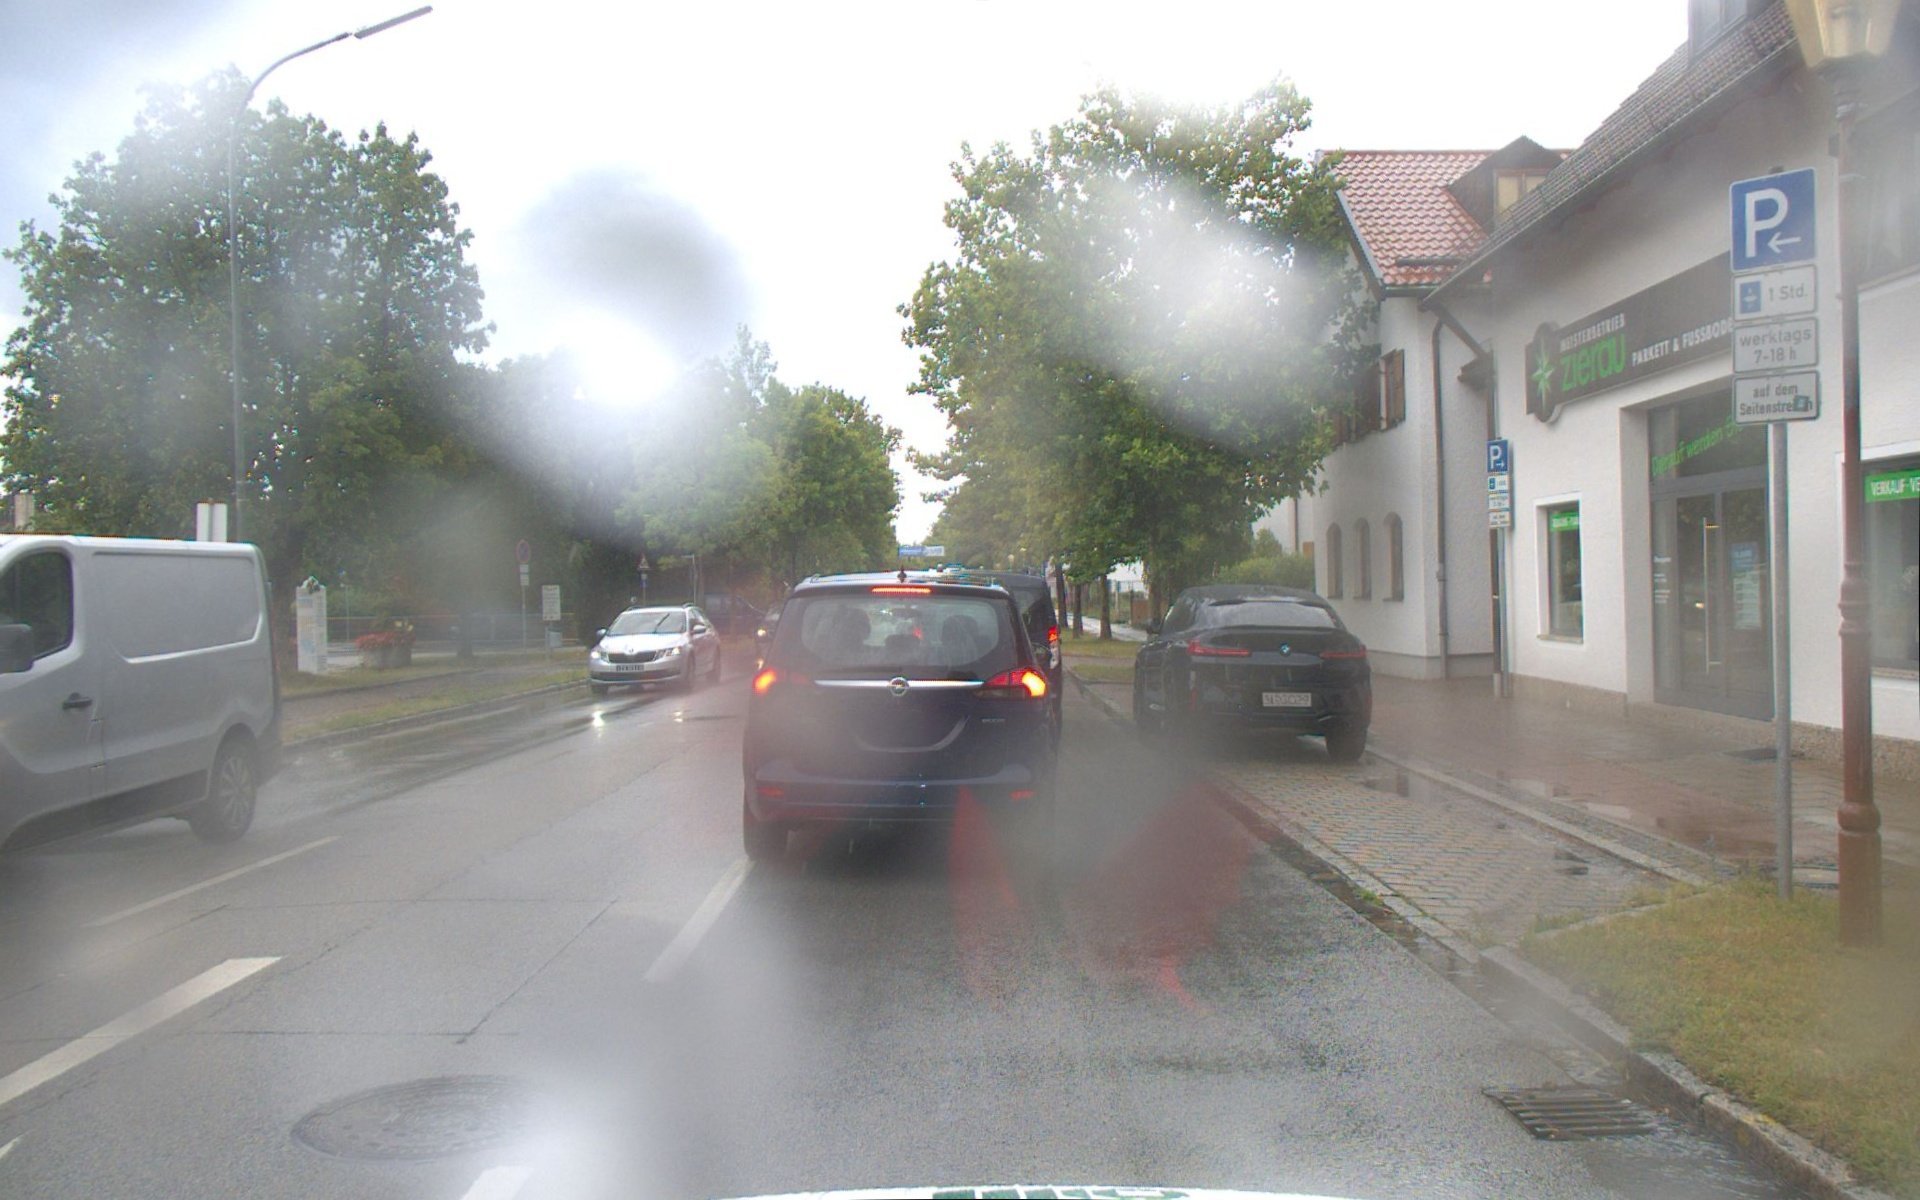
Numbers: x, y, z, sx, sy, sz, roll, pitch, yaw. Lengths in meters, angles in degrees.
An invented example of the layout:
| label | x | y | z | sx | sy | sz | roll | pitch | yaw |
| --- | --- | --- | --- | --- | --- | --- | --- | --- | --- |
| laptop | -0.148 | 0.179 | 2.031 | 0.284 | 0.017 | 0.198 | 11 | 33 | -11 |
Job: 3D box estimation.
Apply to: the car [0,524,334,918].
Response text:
| label | x | y | z | sx | sy | sz | roll | pitch | yaw |
| --- | --- | --- | --- | --- | --- | --- | --- | --- | --- |
| car | -5.580 | 0.636 | 9.518 | 1.779 | 1.924 | 5.259 | -3 | 0 | 1 |

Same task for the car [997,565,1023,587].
| label | x | y | z | sx | sy | sz | roll | pitch | yaw |
| --- | --- | --- | --- | --- | --- | --- | --- | --- | --- |
| car | 3.481 | -1.674 | 114.959 | 1.597 | 1.402 | 3.622 | -2 | 0 | 0 |

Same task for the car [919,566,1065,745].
| label | x | y | z | sx | sy | sz | roll | pitch | yaw |
| --- | --- | --- | --- | --- | --- | --- | --- | --- | --- |
| car | 0.319 | 0.559 | 18.278 | 1.469 | 1.807 | 3.111 | 0 | 0 | 0 |

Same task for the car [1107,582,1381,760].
| label | x | y | z | sx | sy | sz | roll | pitch | yaw |
| --- | --- | --- | --- | --- | --- | --- | --- | --- | --- |
| car | 2.744 | 0.653 | 16.906 | 2.074 | 1.609 | 3.934 | 0 | 0 | -1 |

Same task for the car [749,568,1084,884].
| label | x | y | z | sx | sy | sz | roll | pitch | yaw |
| --- | --- | --- | --- | --- | --- | --- | --- | --- | --- |
| car | -0.230 | 0.654 | 10.421 | 1.732 | 1.633 | 3.663 | 0 | 0 | 0 |

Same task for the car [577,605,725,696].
| label | x | y | z | sx | sy | sz | roll | pitch | yaw |
| --- | --- | --- | --- | --- | --- | --- | --- | --- | --- |
| car | -5.439 | 0.850 | 29.624 | 1.742 | 1.399 | 4.184 | -3 | 0 | 1 |

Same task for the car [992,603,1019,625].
| label | x | y | z | sx | sy | sz | roll | pitch | yaw |
| --- | --- | --- | --- | --- | --- | --- | --- | --- | --- |
| car | 2.861 | 0.895 | 105.430 | 1.597 | 1.402 | 3.622 | 0 | -1 | 0 |

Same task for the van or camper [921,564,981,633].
| label | x | y | z | sx | sy | sz | roll | pitch | yaw |
| --- | --- | --- | --- | --- | --- | --- | --- | --- | --- |
| van or camper | -0.352 | -0.065 | 68.537 | 2.312 | 2.712 | 5.371 | -2 | 0 | 0 |

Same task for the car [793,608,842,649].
| label | x | y | z | sx | sy | sz | roll | pitch | yaw |
| --- | --- | --- | --- | --- | --- | --- | --- | --- | --- |
| car | -5.304 | 1.060 | 62.011 | 1.443 | 1.399 | 3.208 | -3 | 0 | 1 |

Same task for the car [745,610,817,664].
| label | x | y | z | sx | sy | sz | roll | pitch | yaw |
| --- | --- | --- | --- | --- | --- | --- | --- | --- | --- |
| car | -5.221 | 1.050 | 48.625 | 1.548 | 1.399 | 4.184 | -3 | 0 | 1 |

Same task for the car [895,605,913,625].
| label | x | y | z | sx | sy | sz | roll | pitch | yaw |
| --- | --- | --- | --- | --- | --- | --- | --- | --- | --- |
| car | -4.723 | 1.292 | 139.620 | 1.446 | 1.652 | 3.690 | 0 | -1 | -1 |
